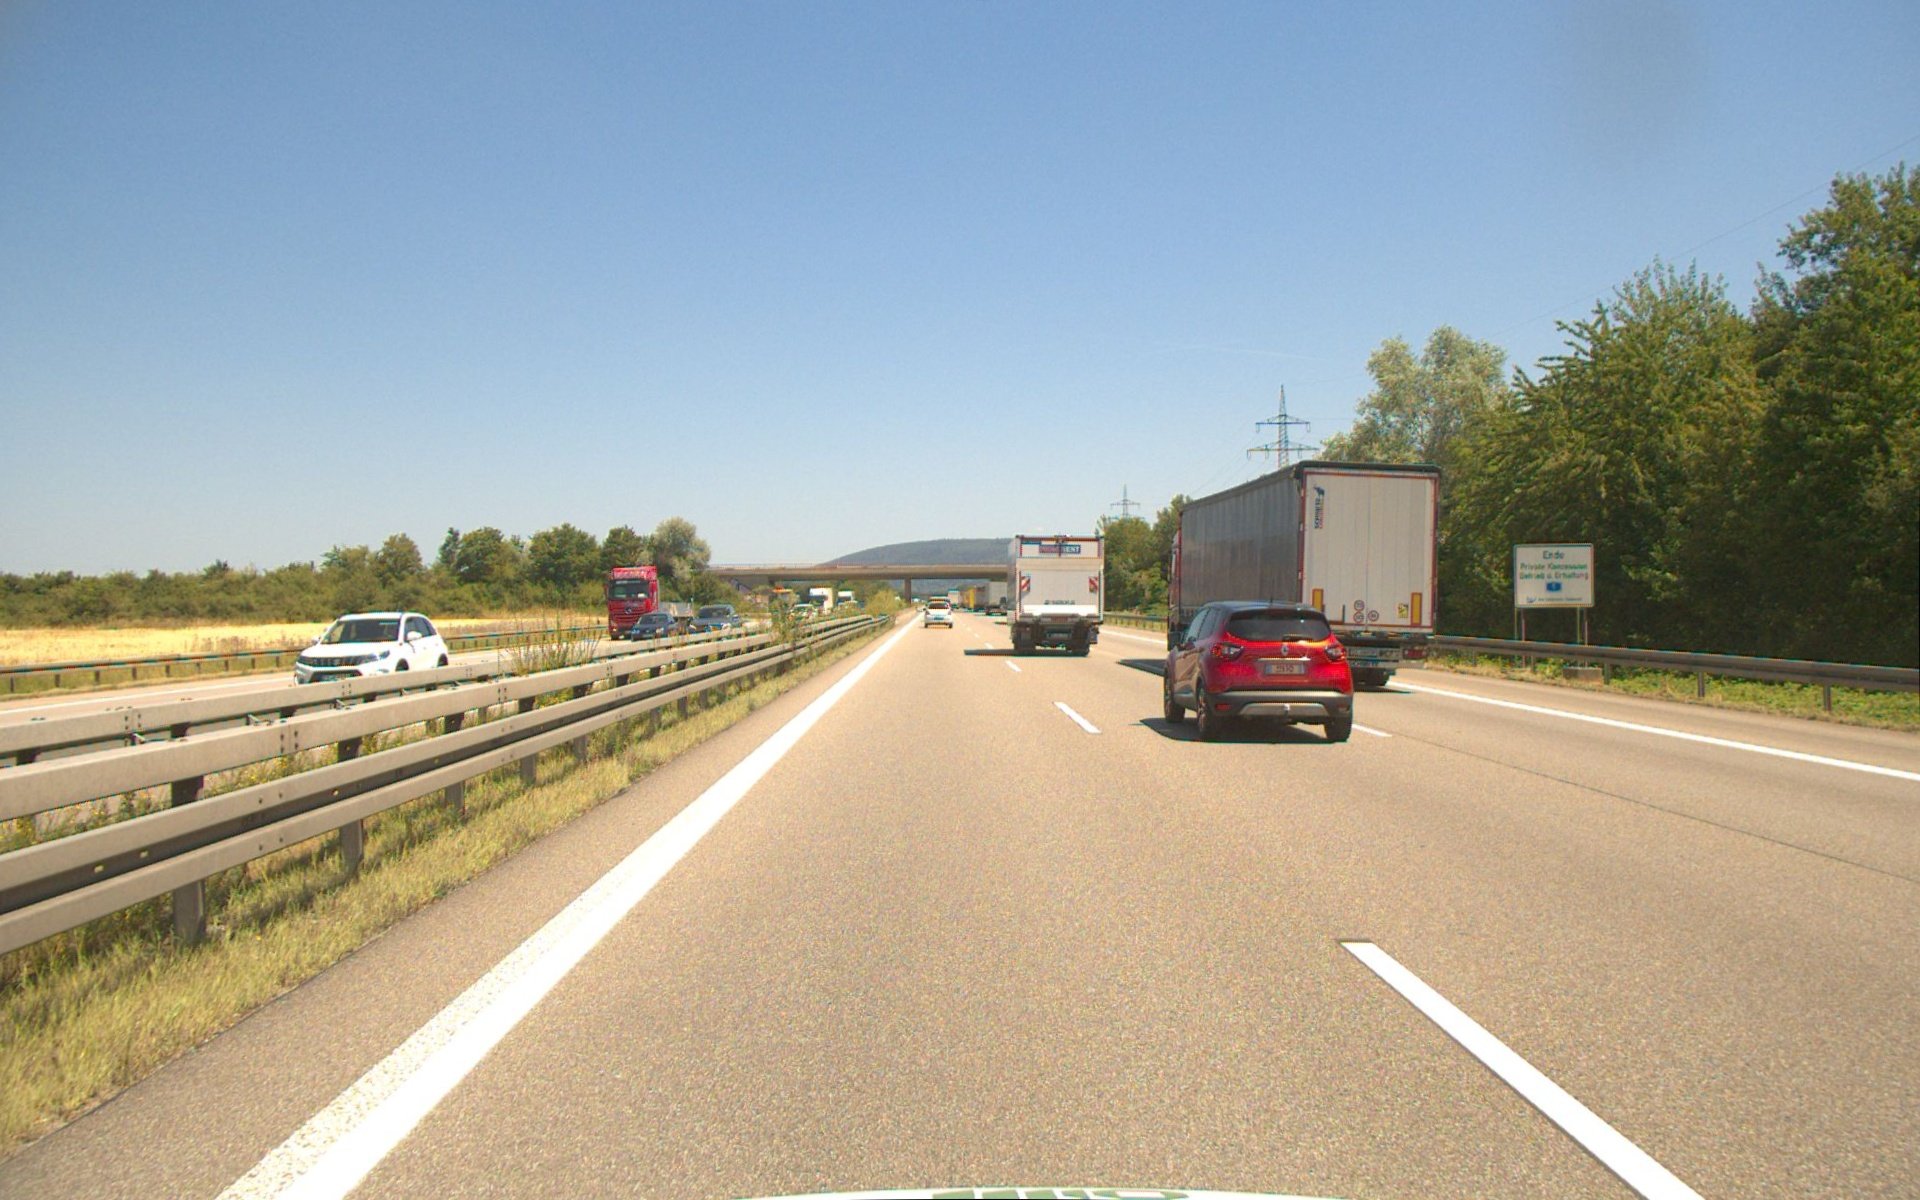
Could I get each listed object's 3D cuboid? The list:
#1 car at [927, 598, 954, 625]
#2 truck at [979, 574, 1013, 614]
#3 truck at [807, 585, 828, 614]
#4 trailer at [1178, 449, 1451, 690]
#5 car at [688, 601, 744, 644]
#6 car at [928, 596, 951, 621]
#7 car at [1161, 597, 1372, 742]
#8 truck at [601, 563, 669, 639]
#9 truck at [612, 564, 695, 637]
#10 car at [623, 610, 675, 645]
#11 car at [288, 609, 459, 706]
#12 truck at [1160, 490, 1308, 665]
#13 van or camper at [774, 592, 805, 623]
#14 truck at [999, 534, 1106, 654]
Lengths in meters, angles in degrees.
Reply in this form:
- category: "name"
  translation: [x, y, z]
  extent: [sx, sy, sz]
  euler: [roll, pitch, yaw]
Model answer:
- category: "car"
  translation: [-1.124, 0.664, 97.992]
  extent: [1.574, 1.493, 4.000]
  euler: [-1, 0, 0]
- category: "truck"
  translation: [4.218, -0.665, 199.157]
  extent: [3.449, 4.493, 14.588]
  euler: [-1, 0, -1]
- category: "truck"
  translation: [-20.381, -0.047, 236.777]
  extent: [2.626, 4.085, 5.754]
  euler: [-2, 0, -1]
- category: "trailer"
  translation: [7.135, -0.530, 35.902]
  extent: [2.732, 4.237, 13.570]
  euler: [0, 0, -1]
- category: "car"
  translation: [-10.066, 0.896, 68.385]
  extent: [1.772, 1.676, 3.960]
  euler: [-2, 0, -1]
- category: "car"
  translation: [-1.593, 0.646, 131.057]
  extent: [1.725, 1.883, 4.000]
  euler: [-1, 0, 0]
- category: "car"
  translation: [3.587, 0.763, 20.050]
  extent: [1.766, 1.572, 3.999]
  euler: [0, 0, -1]
- category: "truck"
  translation: [-18.436, 0.039, 94.185]
  extent: [2.705, 4.084, 5.749]
  euler: [-2, 0, -2]
- category: "truck"
  translation: [-18.609, 0.031, 101.341]
  extent: [2.705, 4.084, 13.519]
  euler: [-2, 0, -1]
- category: "car"
  translation: [-14.238, 1.244, 75.768]
  extent: [1.698, 1.477, 3.676]
  euler: [-2, 0, -1]
- category: "car"
  translation: [-10.662, 0.998, 30.359]
  extent: [1.772, 1.563, 3.960]
  euler: [-2, 0, -1]
- category: "truck"
  translation: [6.980, -0.537, 42.926]
  extent: [2.738, 4.237, 5.720]
  euler: [0, 0, -2]
- category: "van or camper"
  translation: [-15.065, 0.671, 146.453]
  extent: [2.127, 2.633, 5.871]
  euler: [-3, 0, -2]
- category: "truck"
  translation: [2.779, -0.161, 51.950]
  extent: [2.726, 3.432, 8.125]
  euler: [0, 0, -1]
